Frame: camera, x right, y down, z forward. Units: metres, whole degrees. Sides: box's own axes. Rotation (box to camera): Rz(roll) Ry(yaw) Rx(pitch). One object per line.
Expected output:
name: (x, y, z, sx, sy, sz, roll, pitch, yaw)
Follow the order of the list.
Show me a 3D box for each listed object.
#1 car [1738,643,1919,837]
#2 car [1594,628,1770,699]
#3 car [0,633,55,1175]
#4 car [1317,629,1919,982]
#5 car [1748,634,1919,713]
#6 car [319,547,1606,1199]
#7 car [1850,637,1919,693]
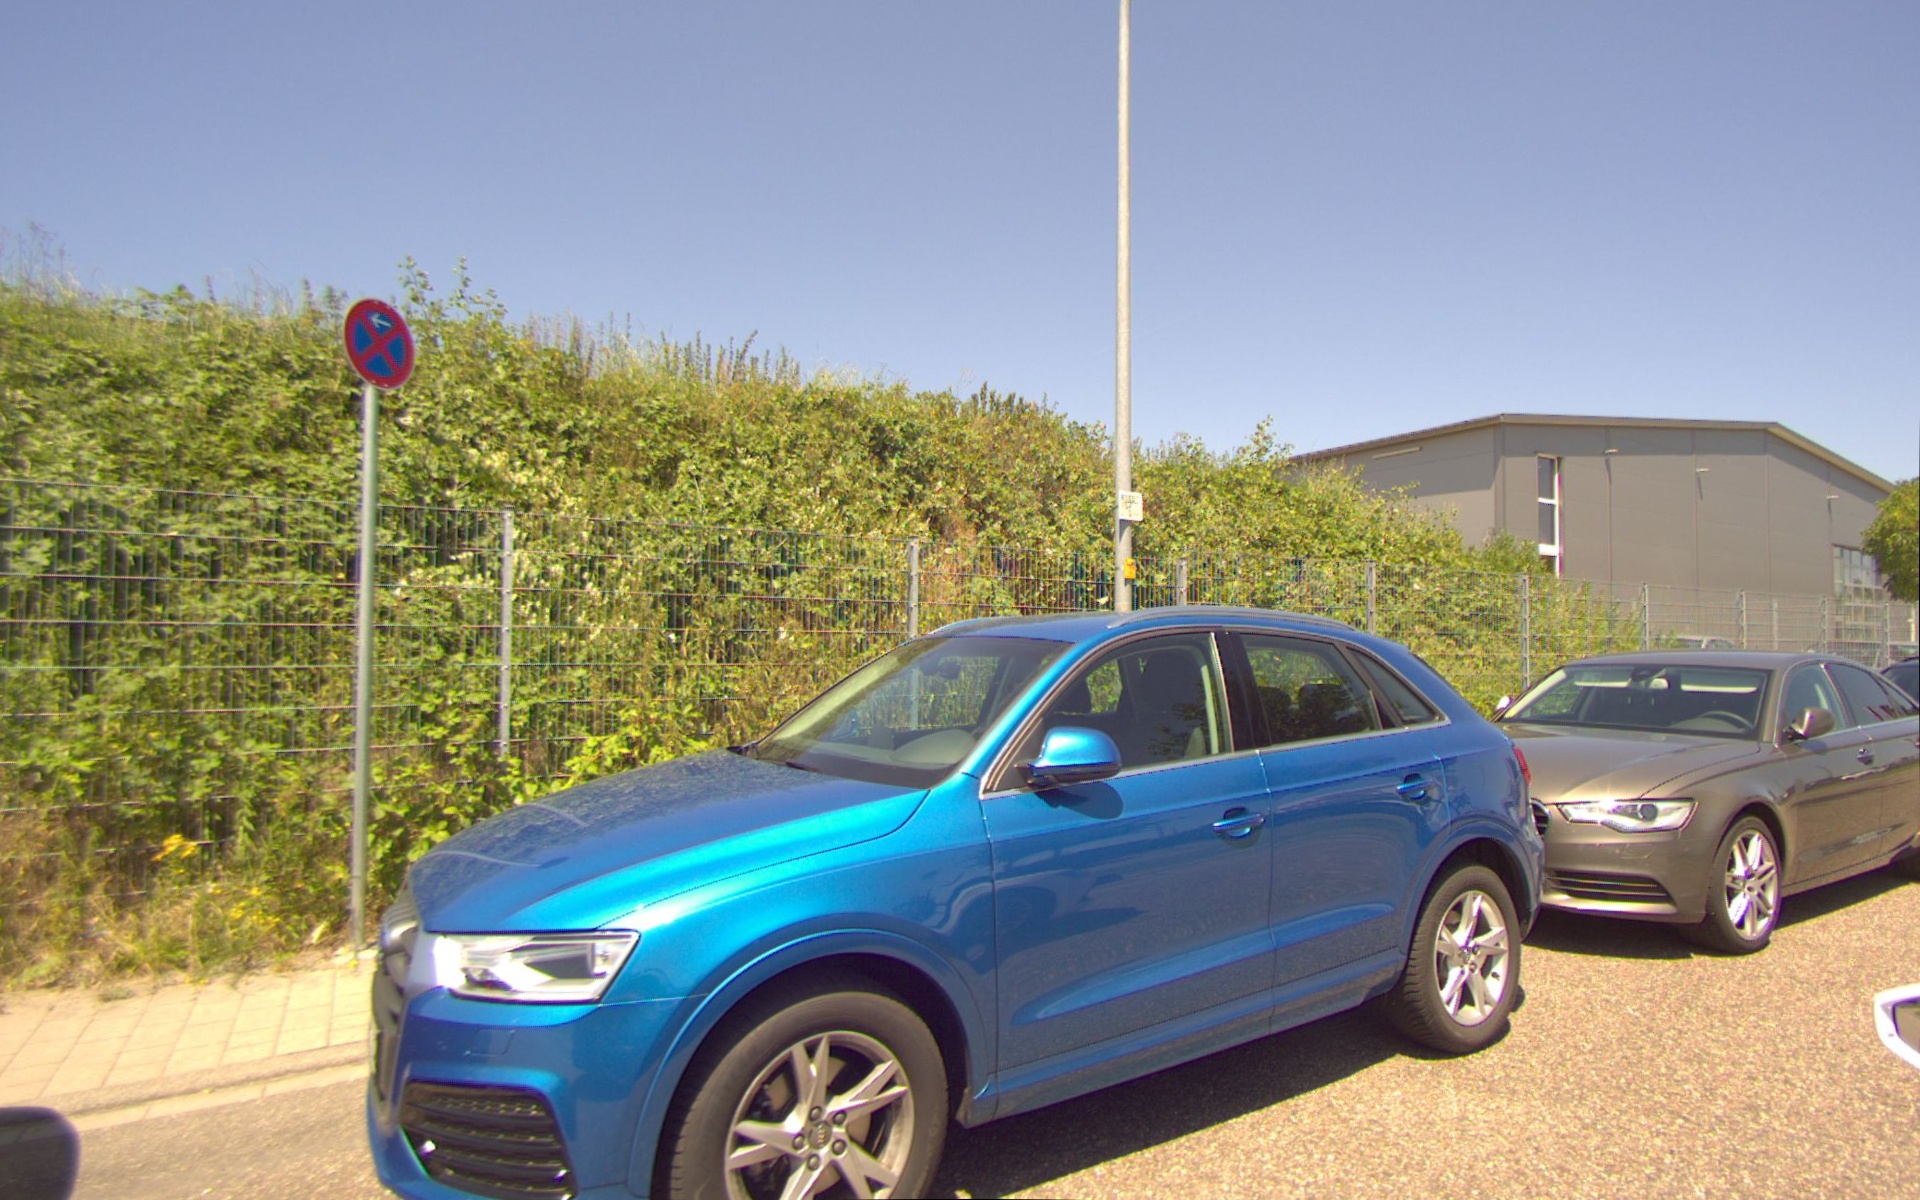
car: (9.324, 1.178, 9.315, 4.468, 1.519, 1.816, 2, -4, -31)
car: (17.302, 1.483, 24.046, 4.207, 1.520, 1.816, 2, -1, -29)
car: (-4.240, 0.739, 1.083, 4.530, 1.473, 1.815, 2, -4, -32)
car: (4.487, 0.993, 6.295, 4.468, 1.519, 1.816, 2, -4, -31)
car: (19.225, 1.552, 21.824, 4.275, 1.520, 1.816, 2, -1, -29)
car: (0.275, 0.810, 3.650, 4.338, 1.591, 1.815, 2, -4, -32)
car: (27.686, 1.875, 29.378, 3.667, 1.520, 1.672, 2, -2, -35)
